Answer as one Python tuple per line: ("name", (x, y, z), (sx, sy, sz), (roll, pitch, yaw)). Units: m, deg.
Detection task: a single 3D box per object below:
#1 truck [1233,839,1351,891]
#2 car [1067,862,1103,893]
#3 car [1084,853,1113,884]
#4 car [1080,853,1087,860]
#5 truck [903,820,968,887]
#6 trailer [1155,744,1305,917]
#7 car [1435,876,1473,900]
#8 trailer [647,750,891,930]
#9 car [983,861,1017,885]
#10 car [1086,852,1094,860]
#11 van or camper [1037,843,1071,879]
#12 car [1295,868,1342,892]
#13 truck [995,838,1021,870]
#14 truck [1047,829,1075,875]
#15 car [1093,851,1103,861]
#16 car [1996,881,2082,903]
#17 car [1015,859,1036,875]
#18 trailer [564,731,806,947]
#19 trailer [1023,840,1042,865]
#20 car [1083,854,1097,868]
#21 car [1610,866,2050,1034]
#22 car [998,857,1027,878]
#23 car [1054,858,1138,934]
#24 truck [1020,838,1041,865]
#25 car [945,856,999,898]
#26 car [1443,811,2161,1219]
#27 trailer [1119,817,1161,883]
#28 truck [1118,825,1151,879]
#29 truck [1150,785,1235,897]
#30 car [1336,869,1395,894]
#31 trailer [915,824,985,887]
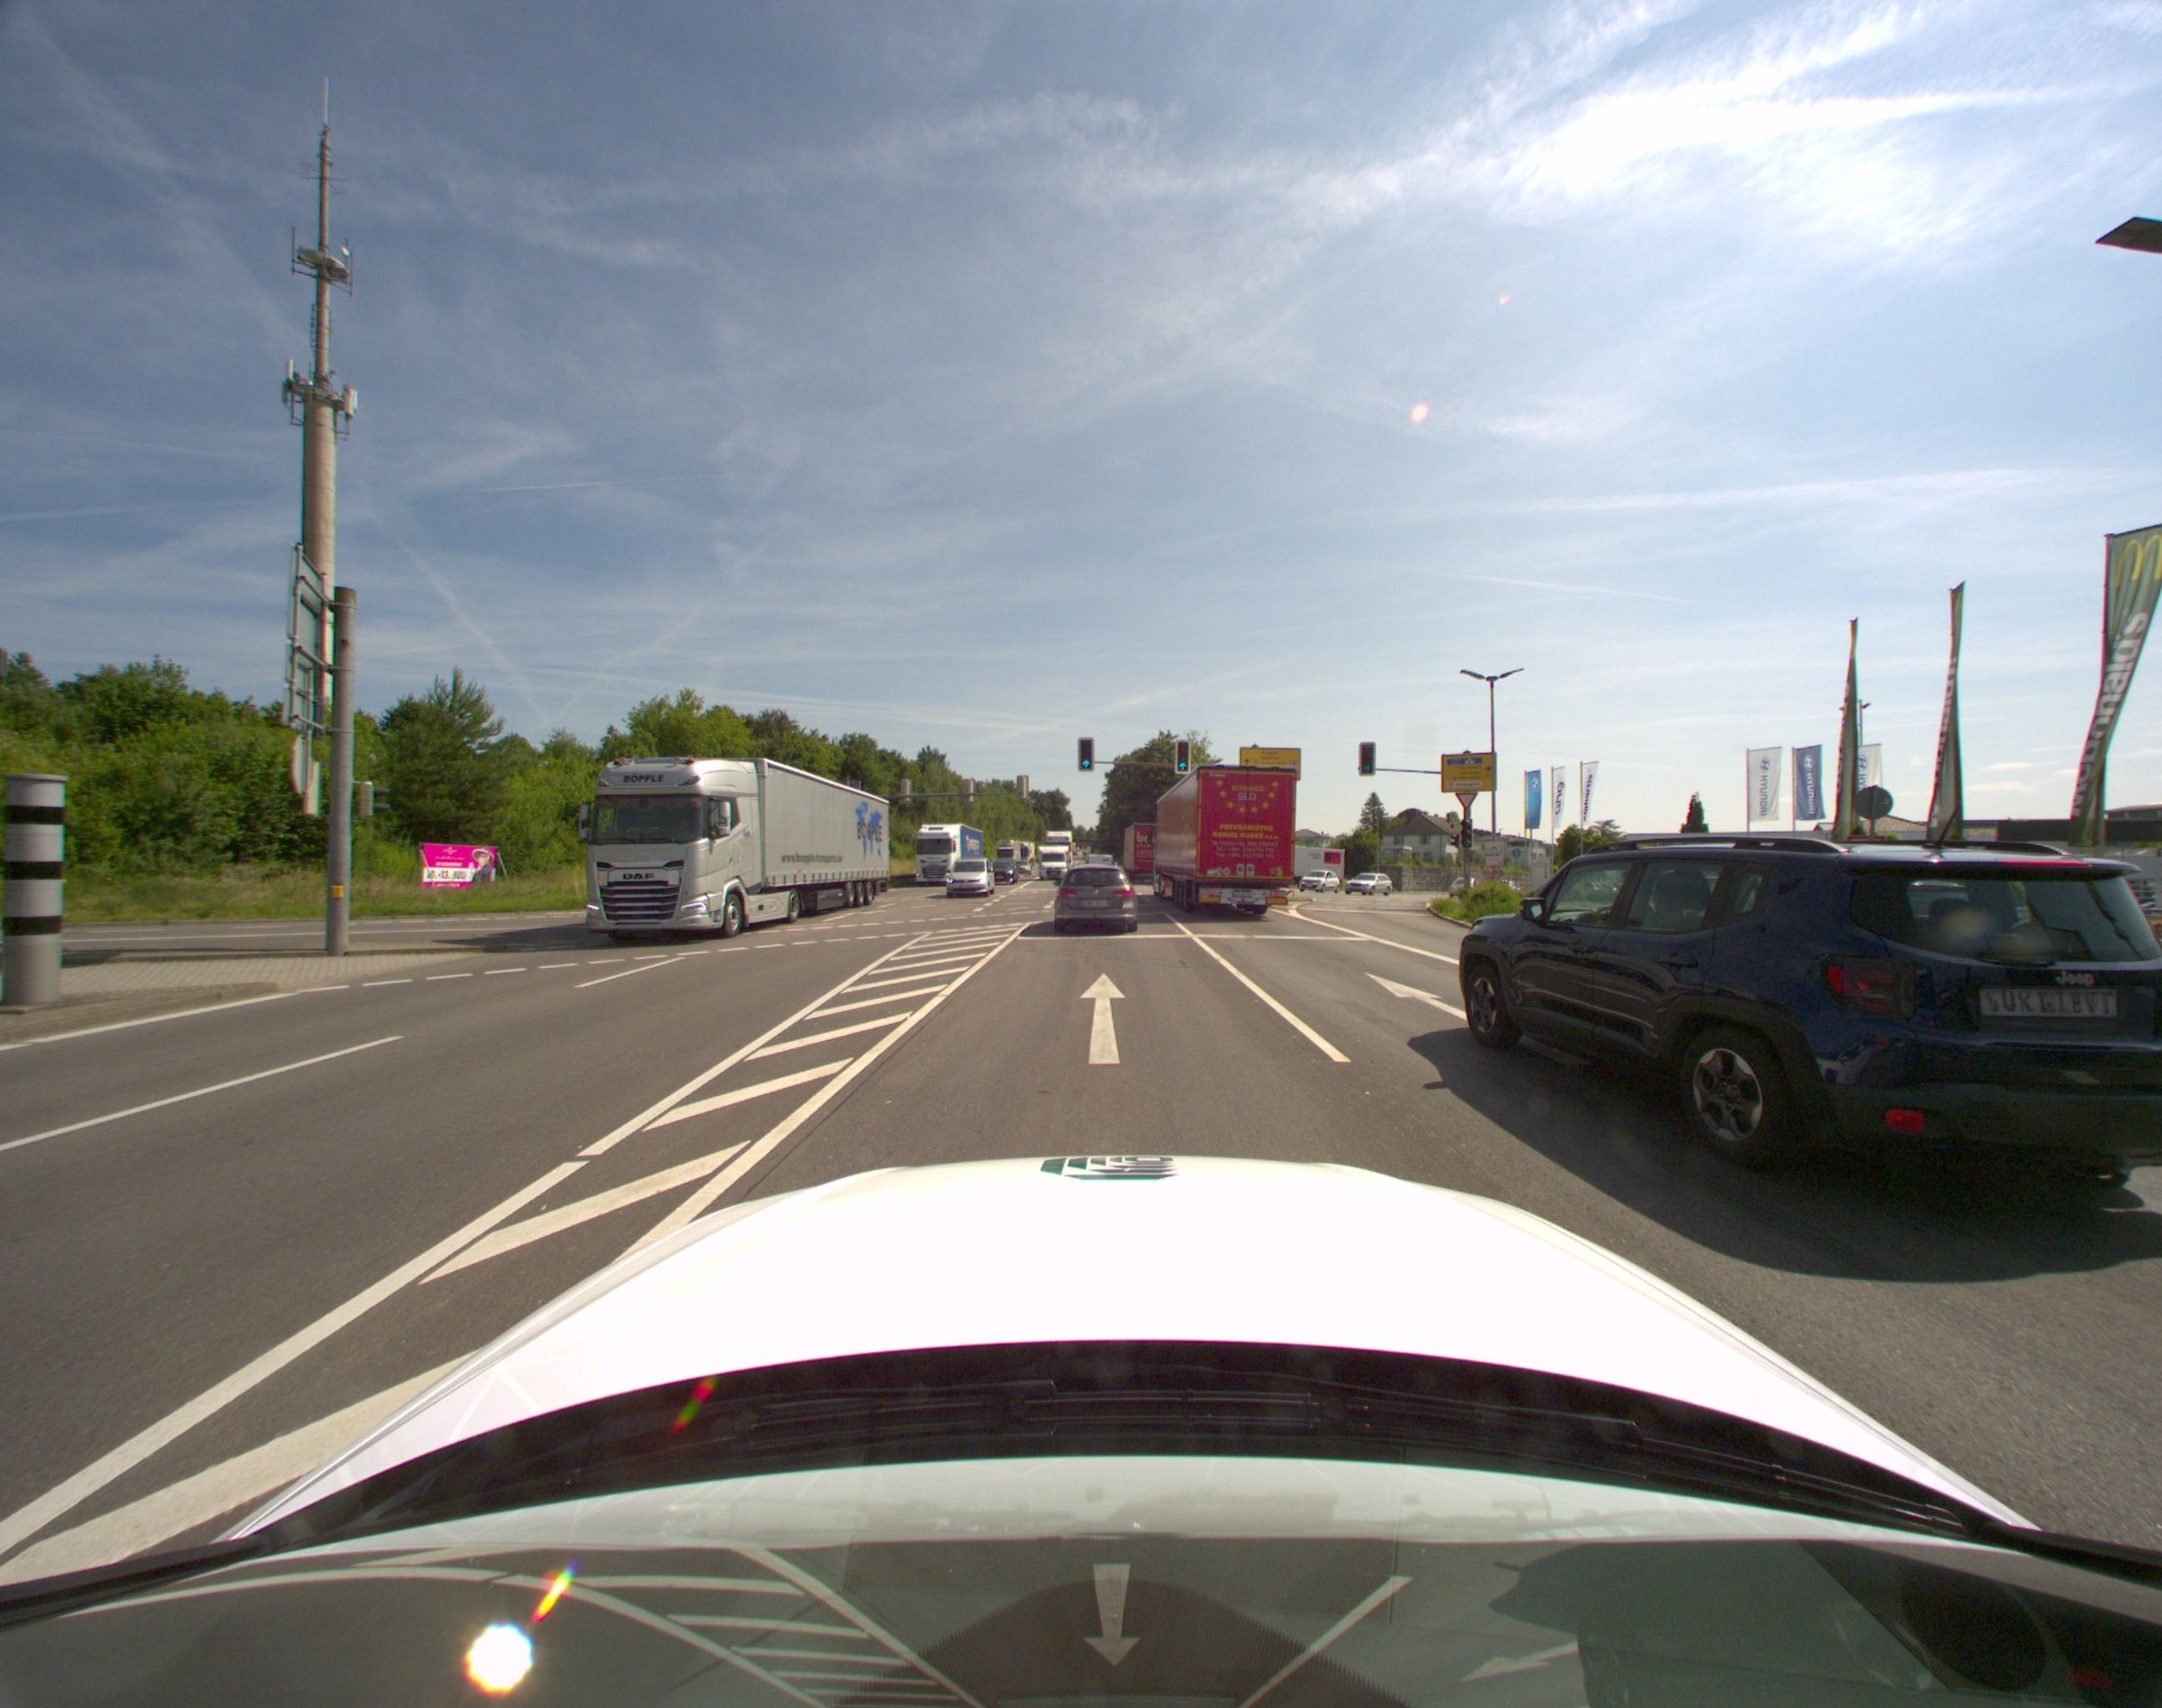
("truck", (18.176, 0.994, 70.006), (9.692, 3.628, 2.751), (5, -2, -17))
("car", (0.183, 1.174, 42.770), (1.765, 1.513, 3.998), (-1, 0, -1))
("car", (1.130, 0.926, 53.390), (1.765, 1.936, 3.976), (-1, 0, -1))
("car", (0.706, 0.742, 255.697), (1.987, 2.014, 3.998), (-1, 0, -1))
("truck", (-9.432, -0.026, 53.596), (3.178, 4.080, 6.343), (-1, -1, -1))
("trailer", (4.413, -0.557, 27.473), (2.829, 4.365, 13.169), (1, 0, 1))
("car", (27.453, 2.479, 59.887), (1.974, 1.575, 4.025), (2, -1, 33))
("trailer", (-8.830, -0.282, 25.760), (2.684, 4.148, 13.869), (-1, 0, -2))
("car", (-5.261, 1.189, 53.497), (1.989, 1.485, 4.449), (-1, 0, -3))
("car", (2.419, 0.570, 212.805), (1.987, 2.014, 3.998), (-1, 0, -1))
("van or camper", (-1.998, 0.551, 62.558), (2.323, 2.600, 6.978), (-1, 0, 0))
("car", (16.315, 1.771, 55.825), (1.689, 1.504, 3.778), (1, -2, 40))
("truck", (-9.664, 0.064, 108.954), (2.721, 3.999, 9.616), (-1, 0, -1))
("truck", (-1.868, -0.157, 76.097), (2.530, 4.088, 6.261), (-1, -1, -1))
("car", (3.535, 0.374, 170.827), (1.987, 2.014, 3.998), (-1, 0, -1))
("car", (75.882, 2.966, 64.593), (4.135, 1.618, 2.021), (-1, -1, 40))
("car", (-5.456, 1.302, 81.079), (1.719, 1.502, 4.001), (-1, 0, 1))
("trailer", (-8.630, -0.279, 18.716), (2.638, 4.105, 6.176), (-1, -1, -2))
("trailer", (-8.199, -0.188, 139.190), (2.832, 4.070, 8.751), (-1, 0, -1))
("car", (1.307, 1.011, 120.505), (1.987, 2.014, 3.998), (-1, 0, -1))
("car", (8.511, 0.938, 9.957), (1.980, 1.519, 4.465), (-1, 0, 13))
("car", (-5.632, 1.097, 67.447), (1.986, 1.726, 4.001), (-1, 0, 1))
("car", (0.278, 0.855, 18.352), (1.686, 1.513, 3.998), (-1, 0, -1))
("truck", (-8.041, -0.339, 129.981), (2.821, 4.116, 9.677), (-1, 0, -1))
("car", (-4.808, 0.964, 36.437), (1.837, 1.732, 4.587), (1, 0, -1))
("car", (4.101, 0.670, 5.339), (1.764, 1.654, 4.001), (-1, 0, 2))
("trailer", (4.087, -0.217, 58.914), (2.386, 4.243, 13.081), (-1, 0, 2))
("truck", (4.297, -0.130, 65.987), (2.397, 4.128, 5.522), (-1, -1, 1))
("truck", (4.554, -0.501, 34.465), (2.860, 4.281, 5.840), (1, -1, 1))
("car", (18.867, 1.848, 53.945), (1.975, 1.505, 5.030), (1, -2, 40))
("trailer", (-9.465, 0.140, 60.763), (3.084, 4.080, 14.121), (-1, 0, -1))
